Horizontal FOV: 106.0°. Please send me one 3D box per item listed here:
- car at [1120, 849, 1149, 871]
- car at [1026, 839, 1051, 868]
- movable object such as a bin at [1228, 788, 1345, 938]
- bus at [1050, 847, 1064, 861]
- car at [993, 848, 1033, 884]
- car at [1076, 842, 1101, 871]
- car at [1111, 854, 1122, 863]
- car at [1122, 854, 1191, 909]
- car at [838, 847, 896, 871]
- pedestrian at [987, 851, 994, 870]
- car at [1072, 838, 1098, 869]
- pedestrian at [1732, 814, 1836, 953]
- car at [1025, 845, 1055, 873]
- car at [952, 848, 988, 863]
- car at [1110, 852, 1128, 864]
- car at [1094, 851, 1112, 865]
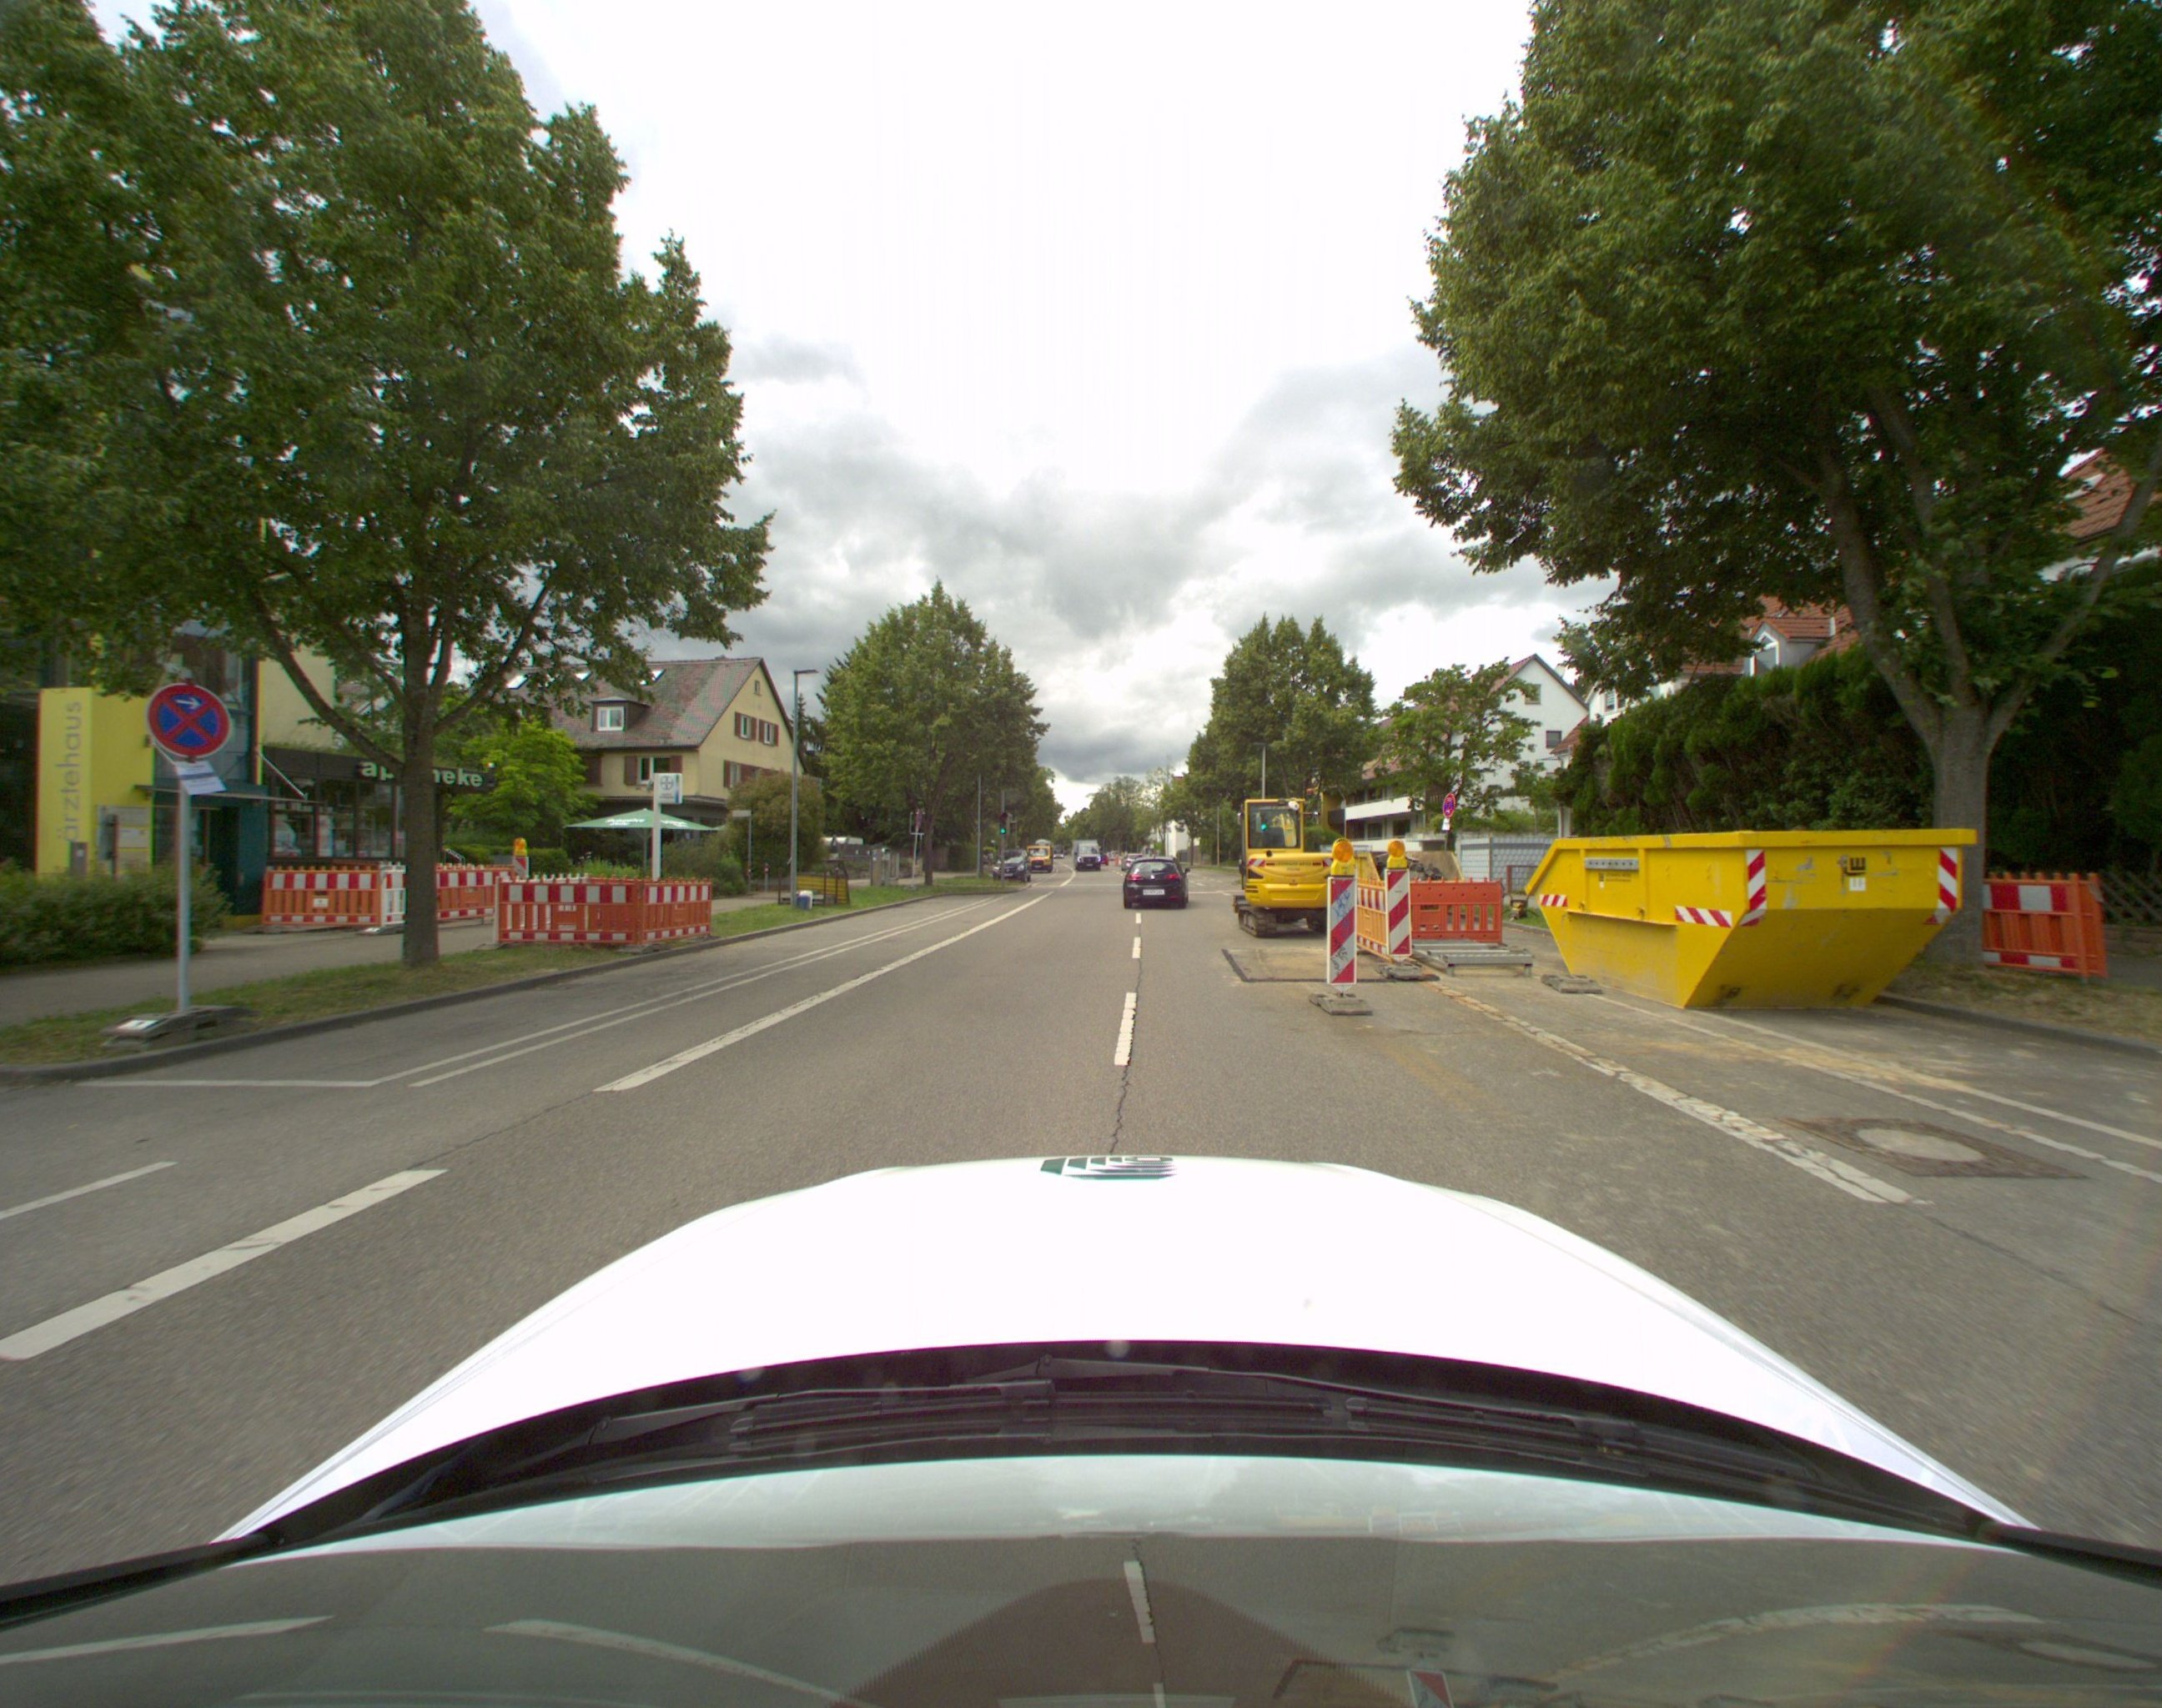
[{"bbox_3d":[4.410,0.479,67.905,1.902,1.685,3.734,-1,0,-5],"label":"car"},{"bbox_3d":[-3.962,-0.057,76.746,2.085,2.626,5.045,-1,0,1],"label":"car"},{"bbox_3d":[3.881,0.152,15.944,1.759,2.574,3.747,0,0,7],"label":"movable object such as a bin"},{"bbox_3d":[-3.656,-0.004,123.841,1.987,2.123,7.356,0,0,-1],"label":"bus"},{"bbox_3d":[-3.664,0.616,44.297,1.661,1.772,4.469,-1,0,1],"label":"car"},{"bbox_3d":[0.704,0.209,71.458,2.021,2.385,5.263,-1,0,1],"label":"car"},{"bbox_3d":[6.130,0.761,139.911,1.802,1.415,3.696,0,0,3],"label":"car"},{"bbox_3d":[2.234,0.741,23.683,1.809,1.437,3.747,-1,0,7],"label":"car"},{"bbox_3d":[-16.466,0.384,62.811,3.964,1.769,1.750,0,-1,8],"label":"car"},{"bbox_3d":[-8.457,0.577,76.011,0.593,1.741,0.574,0,0,0],"label":"pedestrian"},{"bbox_3d":[0.436,-0.025,77.665,2.279,2.792,7.145,-1,0,1],"label":"car"},{"bbox_3d":[8.513,0.349,9.887,0.700,1.634,0.644,-1,0,6],"label":"pedestrian"},{"bbox_3d":[-3.256,0.366,66.023,2.085,2.175,5.045,-1,0,1],"label":"car"},{"bbox_3d":[-11.926,0.184,87.739,3.670,1.594,1.679,-1,0,0],"label":"car"},{"bbox_3d":[4.592,0.486,98.172,1.805,1.415,3.689,0,0,-3],"label":"car"},{"bbox_3d":[2.631,0.423,98.518,1.787,1.623,3.736,-1,0,-3],"label":"car"}]
